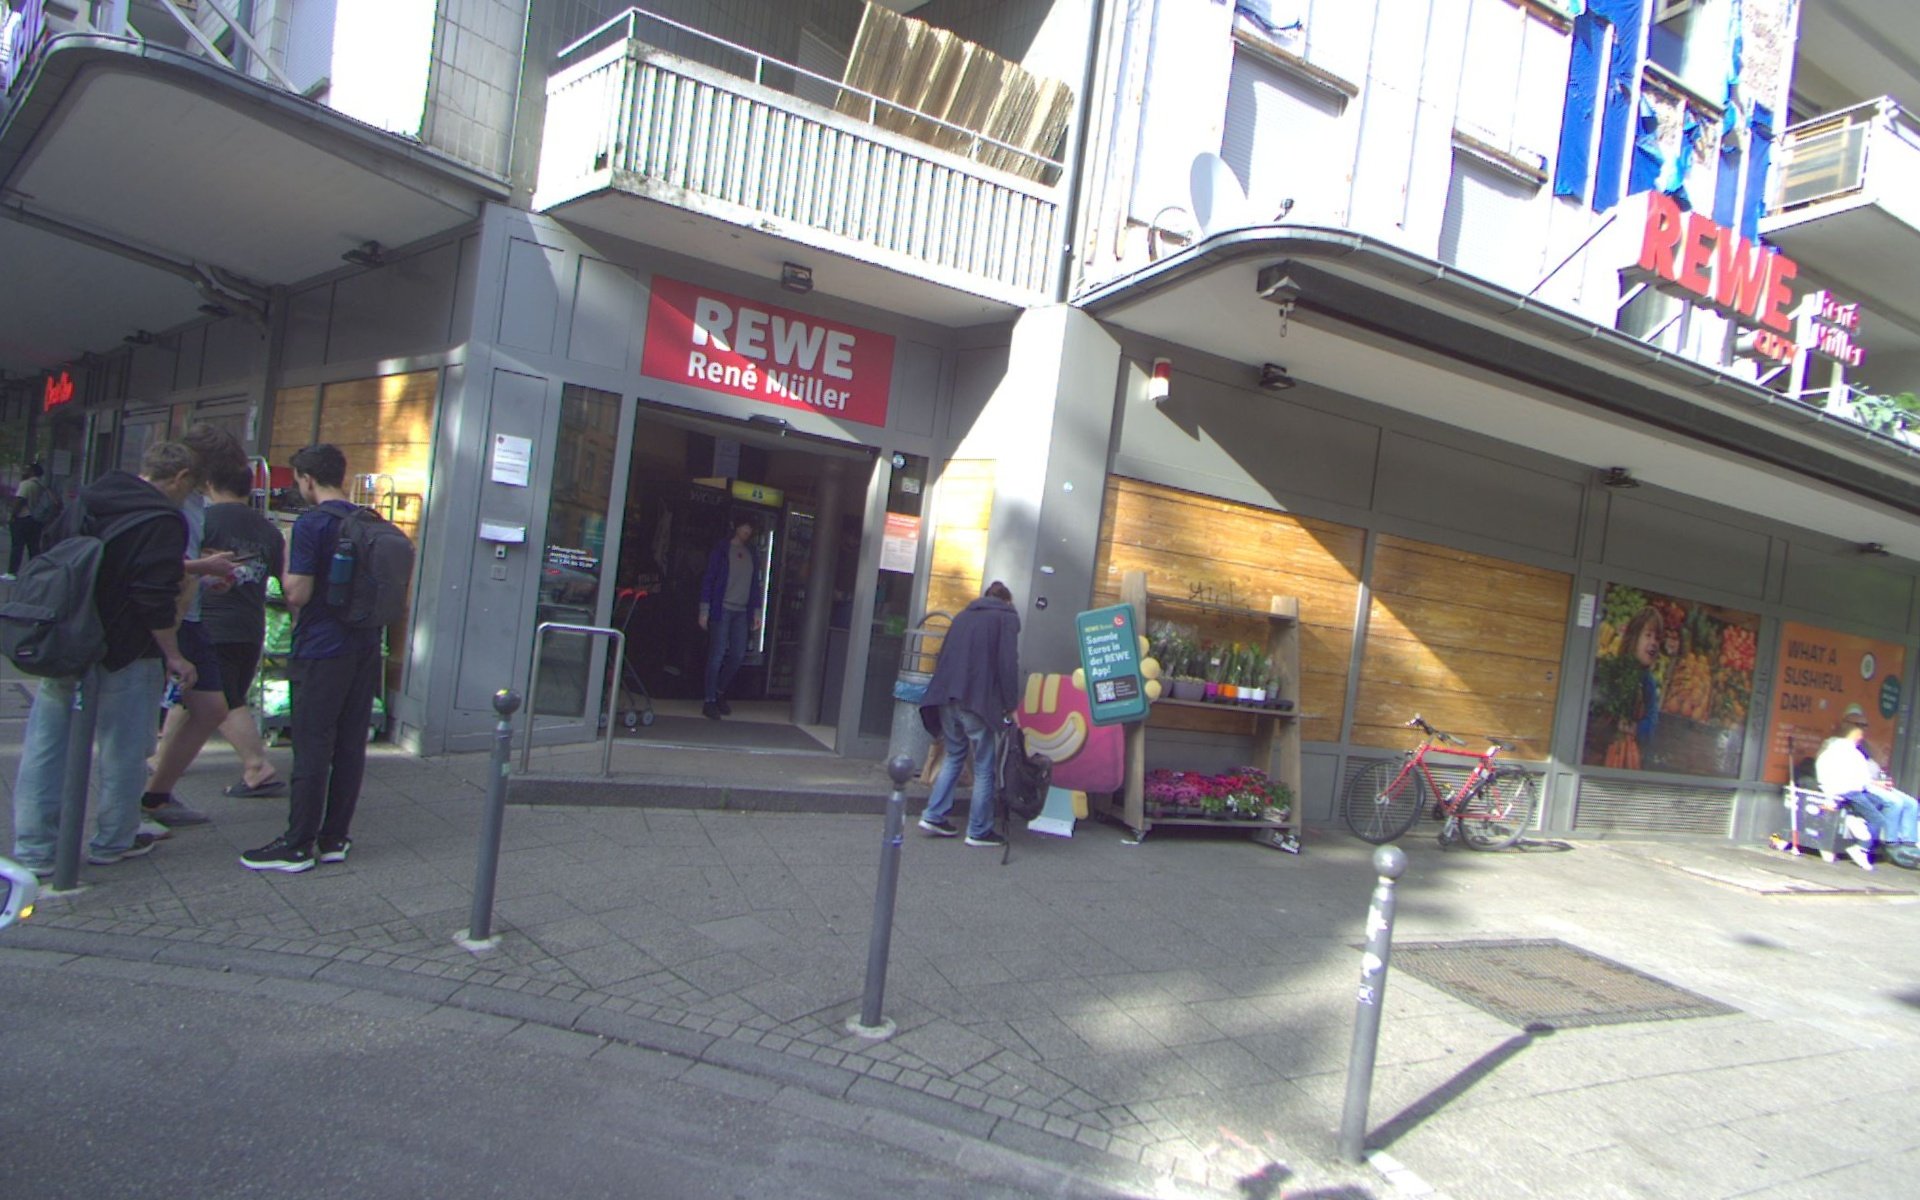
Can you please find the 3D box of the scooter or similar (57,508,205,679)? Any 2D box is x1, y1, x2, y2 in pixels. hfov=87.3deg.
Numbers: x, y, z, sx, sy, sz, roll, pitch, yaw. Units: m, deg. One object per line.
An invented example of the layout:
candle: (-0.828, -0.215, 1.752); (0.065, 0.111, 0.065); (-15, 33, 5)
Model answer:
scooter or similar: (-6.729, -0.063, 8.153); (1.237, 1.229, 0.631); (8, 3, 39)

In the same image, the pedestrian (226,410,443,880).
pedestrian: (-2.691, 0.176, 4.313); (0.649, 1.822, 0.652); (3, 5, -36)

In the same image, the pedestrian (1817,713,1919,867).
pedestrian: (10.133, 2.072, 11.050); (0.660, 1.524, 0.748); (7, 1, -28)

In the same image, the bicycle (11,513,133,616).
bicycle: (-10.510, -0.432, 11.888); (1.756, 1.028, 0.740); (7, 3, 38)

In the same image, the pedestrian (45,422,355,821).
pedestrian: (-3.854, 0.073, 5.114); (1.031, 1.770, 0.849); (8, 3, 30)

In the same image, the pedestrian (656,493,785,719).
pedestrian: (-2.090, 0.042, 8.690); (0.755, 1.775, 0.925); (7, 1, -23)

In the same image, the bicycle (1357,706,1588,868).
bicycle: (4.064, 1.481, 8.000); (1.511, 1.046, 0.581); (8, 2, -15)

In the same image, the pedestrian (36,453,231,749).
pedestrian: (-5.017, -0.004, 6.110); (0.702, 1.654, 0.721); (8, 4, 39)

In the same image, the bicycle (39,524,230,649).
bicycle: (-8.287, -0.134, 10.095); (1.702, 1.056, 0.678); (6, 0, 22)

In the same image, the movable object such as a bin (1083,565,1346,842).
movable object such as a bin: (1.825, 0.756, 7.216); (1.531, 1.777, 0.685); (7, 3, -27)

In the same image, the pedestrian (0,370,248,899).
pedestrian: (-3.315, 0.111, 3.846); (0.621, 1.822, 0.713); (6, 4, -8)

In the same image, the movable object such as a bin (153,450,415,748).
movable object such as a bin: (-4.769, -0.080, 6.998); (2.389, 1.766, 0.778); (7, 1, 41)

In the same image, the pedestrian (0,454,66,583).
pedestrian: (-13.545, -1.184, 14.571); (0.805, 1.770, 0.712); (8, 4, 39)

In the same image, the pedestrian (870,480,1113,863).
pedestrian: (0.212, 0.394, 6.126); (1.015, 2.040, 0.863); (8, 3, 20)

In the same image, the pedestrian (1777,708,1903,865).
pedestrian: (9.389, 1.979, 10.741); (0.745, 1.524, 0.663); (7, 1, -30)

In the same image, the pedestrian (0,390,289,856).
pedestrian: (-3.471, 0.107, 4.337); (0.703, 1.822, 0.629); (5, 4, -16)
